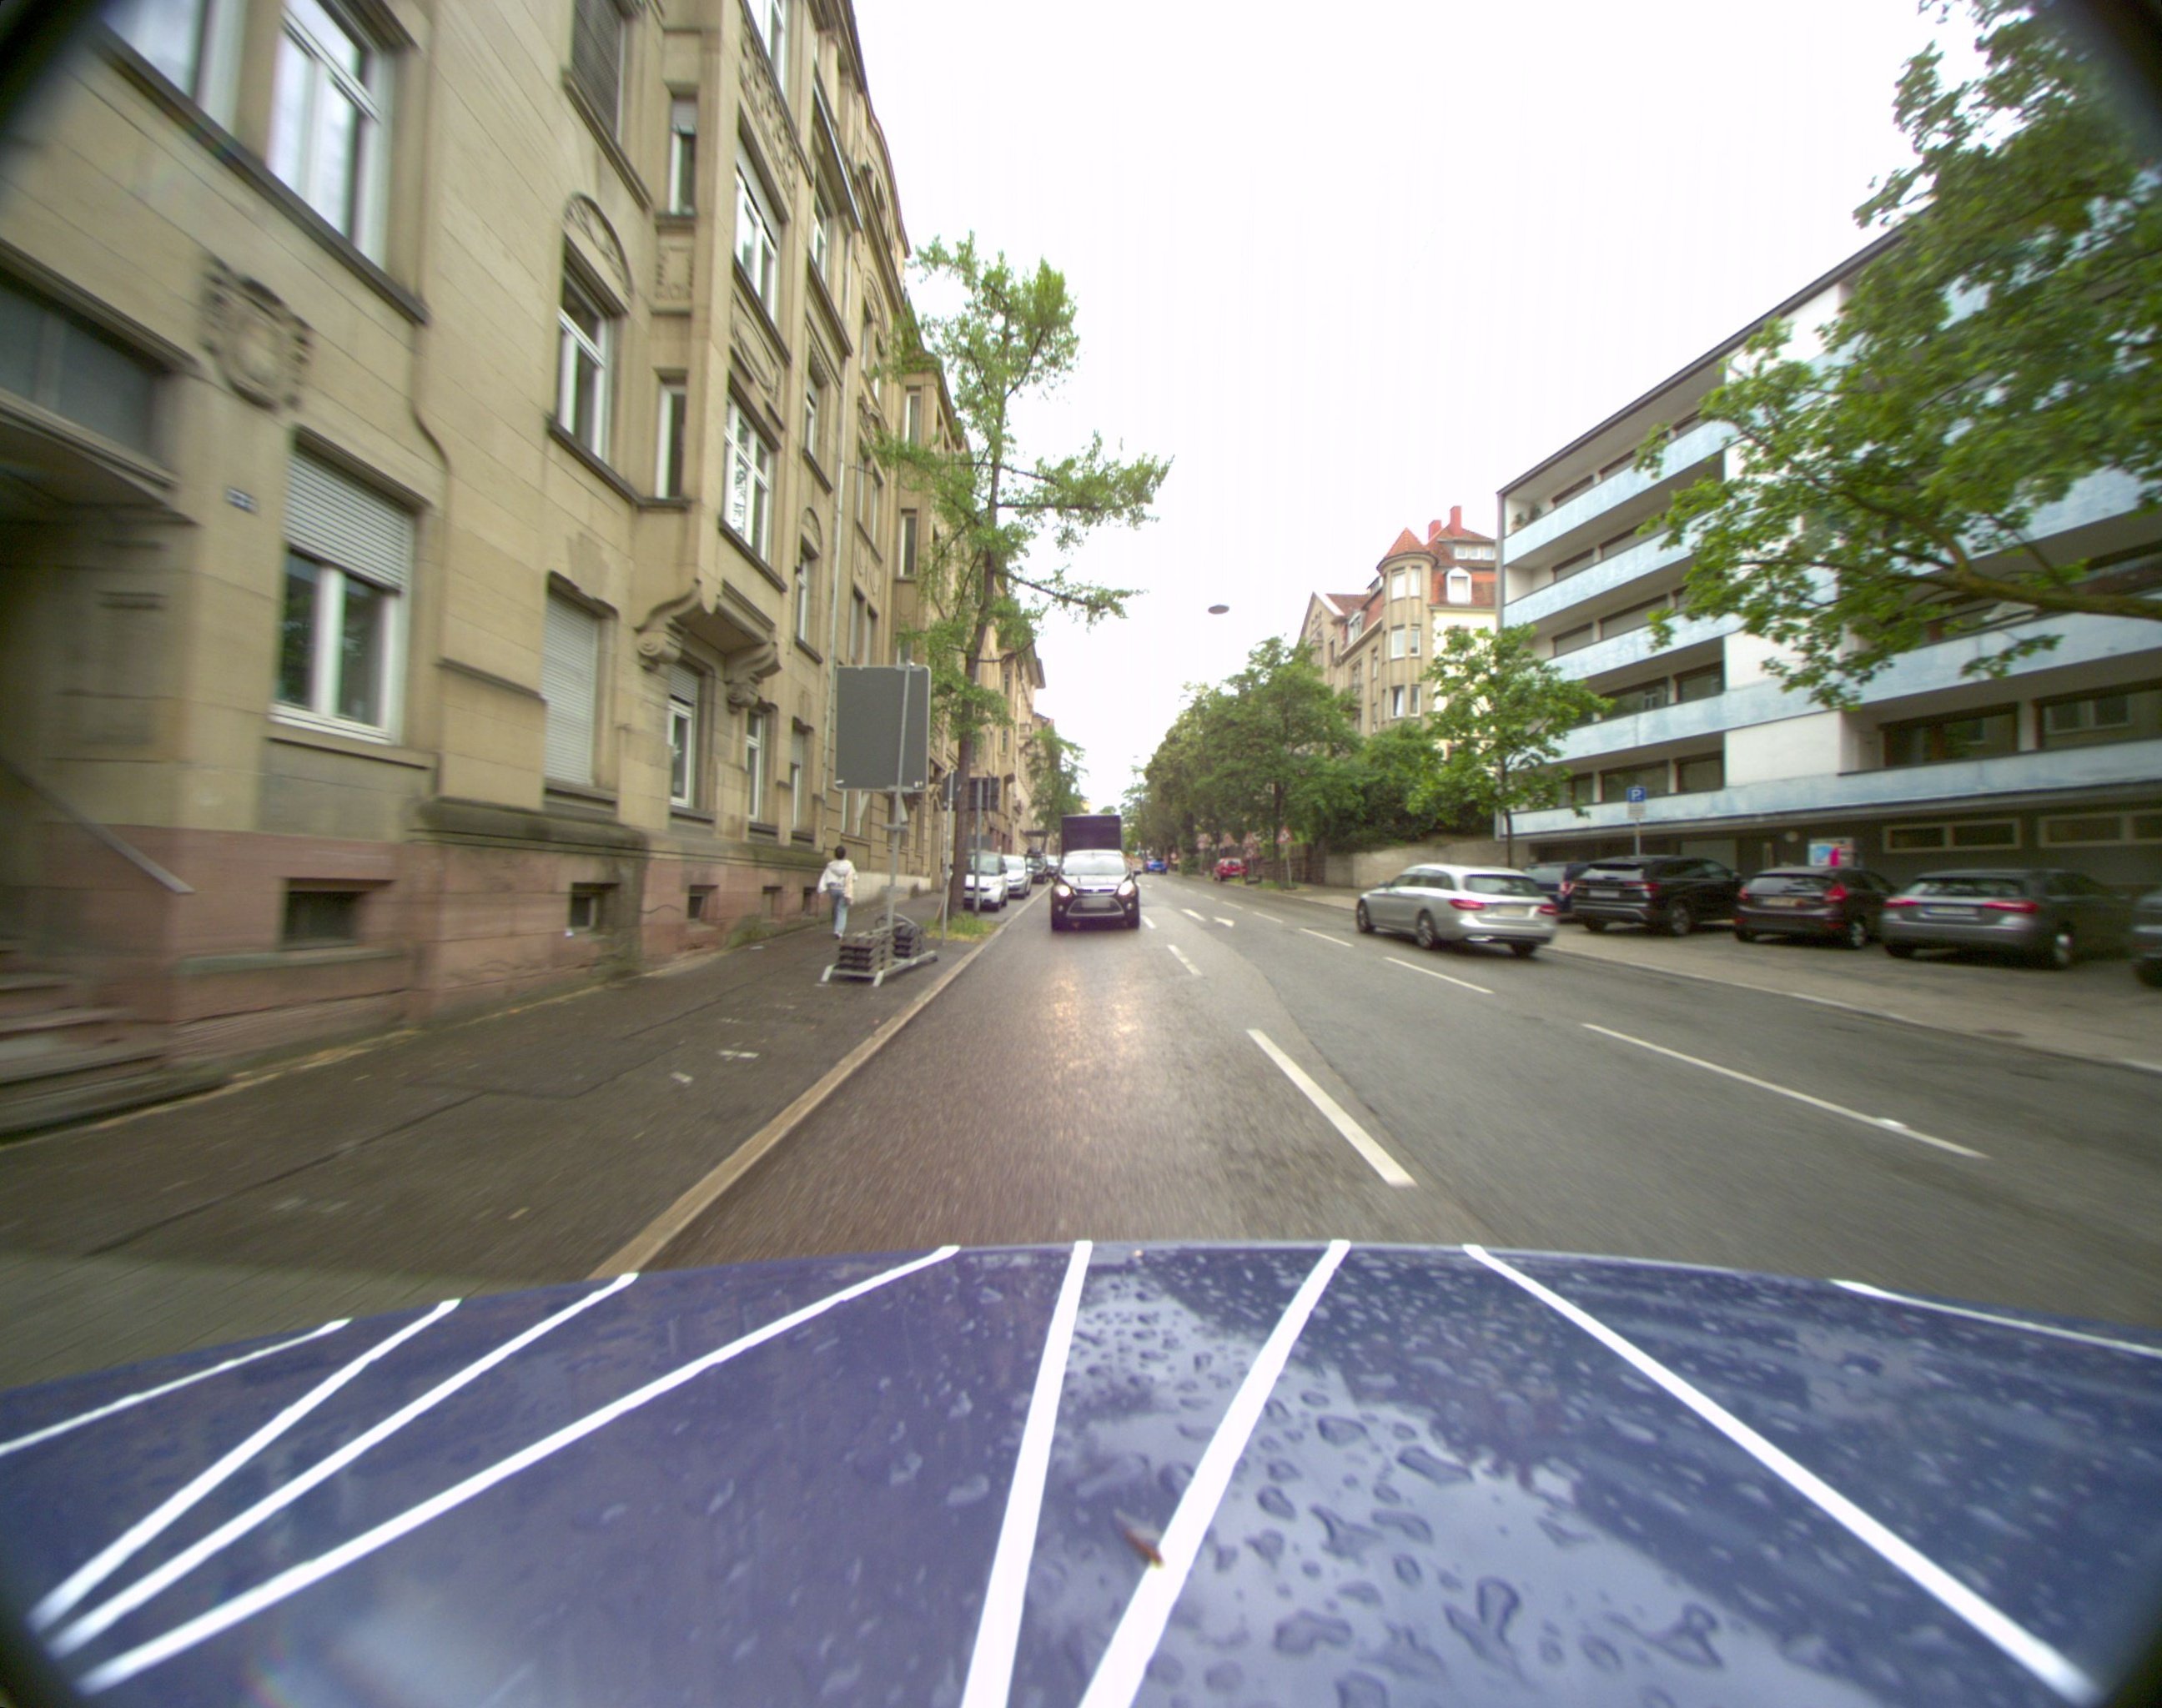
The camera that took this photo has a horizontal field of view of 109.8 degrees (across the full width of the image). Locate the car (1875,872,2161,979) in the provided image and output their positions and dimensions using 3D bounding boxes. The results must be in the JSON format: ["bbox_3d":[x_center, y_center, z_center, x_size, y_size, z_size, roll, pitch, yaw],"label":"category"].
[{"bbox_3d":[14.579,1.010,11.823,3.840,1.397,1.688,0,0,-21],"label":"car"}]

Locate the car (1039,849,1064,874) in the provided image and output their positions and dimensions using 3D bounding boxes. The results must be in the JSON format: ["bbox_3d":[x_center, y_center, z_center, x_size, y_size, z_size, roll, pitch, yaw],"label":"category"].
[{"bbox_3d":[-2.186,0.558,56.682,1.547,1.699,3.763,5,0,0],"label":"car"}]

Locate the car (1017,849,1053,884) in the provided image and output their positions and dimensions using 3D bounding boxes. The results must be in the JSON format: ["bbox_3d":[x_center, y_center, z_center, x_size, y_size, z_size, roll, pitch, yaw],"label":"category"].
[{"bbox_3d":[-2.453,0.640,41.164,1.547,1.699,3.763,5,0,0],"label":"car"}]

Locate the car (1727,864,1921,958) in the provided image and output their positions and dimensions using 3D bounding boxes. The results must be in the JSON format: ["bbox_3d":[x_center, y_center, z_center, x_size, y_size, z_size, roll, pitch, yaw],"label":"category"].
[{"bbox_3d":[14.147,0.984,14.428,3.842,1.397,1.676,-2,1,-30],"label":"car"}]

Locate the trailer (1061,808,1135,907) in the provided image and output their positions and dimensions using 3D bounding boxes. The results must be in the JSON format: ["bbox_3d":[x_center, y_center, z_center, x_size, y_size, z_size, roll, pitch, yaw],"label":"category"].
[{"bbox_3d":[0.513,0.138,22.404,1.938,2.621,4.685,0,-1,2],"label":"trailer"}]

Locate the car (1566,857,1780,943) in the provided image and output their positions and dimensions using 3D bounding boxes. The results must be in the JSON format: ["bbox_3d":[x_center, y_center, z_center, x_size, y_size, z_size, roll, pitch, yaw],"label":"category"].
[{"bbox_3d":[12.778,0.903,16.390,4.317,1.583,1.808,-1,1,-24],"label":"car"}]

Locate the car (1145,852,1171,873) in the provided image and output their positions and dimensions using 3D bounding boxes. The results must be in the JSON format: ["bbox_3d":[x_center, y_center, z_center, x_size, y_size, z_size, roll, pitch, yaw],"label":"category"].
[{"bbox_3d":[6.459,0.683,64.158,1.794,1.655,3.887,3,0,1],"label":"car"}]

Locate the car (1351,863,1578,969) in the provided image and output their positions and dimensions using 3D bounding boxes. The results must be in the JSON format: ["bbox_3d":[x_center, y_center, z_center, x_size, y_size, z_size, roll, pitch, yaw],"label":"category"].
[{"bbox_3d":[6.500,0.950,13.508,1.731,1.439,4.325,3,0,-1],"label":"car"}]

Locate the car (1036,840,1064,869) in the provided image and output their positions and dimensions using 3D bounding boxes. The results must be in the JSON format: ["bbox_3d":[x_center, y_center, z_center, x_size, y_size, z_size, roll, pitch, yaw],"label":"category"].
[{"bbox_3d":[-2.011,0.034,50.654,1.547,1.699,3.763,5,0,0],"label":"car"}]

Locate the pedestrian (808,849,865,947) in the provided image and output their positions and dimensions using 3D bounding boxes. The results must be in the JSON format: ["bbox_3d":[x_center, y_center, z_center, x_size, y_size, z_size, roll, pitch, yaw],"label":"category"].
[{"bbox_3d":[-3.995,0.697,12.434,0.645,1.488,0.690,4,4,0],"label":"pedestrian"}]

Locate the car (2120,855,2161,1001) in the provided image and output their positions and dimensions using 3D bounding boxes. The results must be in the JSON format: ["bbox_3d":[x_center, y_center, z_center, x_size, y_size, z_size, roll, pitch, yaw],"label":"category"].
[{"bbox_3d":[14.523,0.875,8.810,3.839,1.679,1.803,0,1,-18],"label":"car"}]

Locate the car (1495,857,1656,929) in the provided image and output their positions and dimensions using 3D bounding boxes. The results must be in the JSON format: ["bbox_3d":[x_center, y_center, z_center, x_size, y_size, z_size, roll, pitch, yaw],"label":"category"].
[{"bbox_3d":[12.615,0.910,19.358,3.841,1.523,1.767,-2,1,-28],"label":"car"}]

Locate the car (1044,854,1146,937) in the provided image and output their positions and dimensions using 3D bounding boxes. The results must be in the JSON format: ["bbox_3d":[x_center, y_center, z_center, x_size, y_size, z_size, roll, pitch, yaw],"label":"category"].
[{"bbox_3d":[0.282,0.787,15.986,1.862,1.503,3.682,1,0,1],"label":"car"}]

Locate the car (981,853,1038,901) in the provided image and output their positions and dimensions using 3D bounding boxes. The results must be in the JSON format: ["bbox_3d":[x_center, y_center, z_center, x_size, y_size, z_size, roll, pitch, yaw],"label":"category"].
[{"bbox_3d":[-2.492,0.777,27.056,1.547,1.478,3.763,5,0,0],"label":"car"}]

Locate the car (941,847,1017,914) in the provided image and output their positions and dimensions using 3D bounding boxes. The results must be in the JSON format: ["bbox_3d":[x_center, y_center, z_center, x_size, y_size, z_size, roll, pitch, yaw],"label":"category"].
[{"bbox_3d":[-2.766,0.677,21.313,1.526,1.608,3.493,5,0,0],"label":"car"}]

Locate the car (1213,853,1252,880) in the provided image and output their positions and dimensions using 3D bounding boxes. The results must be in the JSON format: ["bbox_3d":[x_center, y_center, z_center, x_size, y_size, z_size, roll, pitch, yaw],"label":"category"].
[{"bbox_3d":[9.434,0.753,47.643,1.752,1.497,3.887,3,0,2],"label":"car"}]
